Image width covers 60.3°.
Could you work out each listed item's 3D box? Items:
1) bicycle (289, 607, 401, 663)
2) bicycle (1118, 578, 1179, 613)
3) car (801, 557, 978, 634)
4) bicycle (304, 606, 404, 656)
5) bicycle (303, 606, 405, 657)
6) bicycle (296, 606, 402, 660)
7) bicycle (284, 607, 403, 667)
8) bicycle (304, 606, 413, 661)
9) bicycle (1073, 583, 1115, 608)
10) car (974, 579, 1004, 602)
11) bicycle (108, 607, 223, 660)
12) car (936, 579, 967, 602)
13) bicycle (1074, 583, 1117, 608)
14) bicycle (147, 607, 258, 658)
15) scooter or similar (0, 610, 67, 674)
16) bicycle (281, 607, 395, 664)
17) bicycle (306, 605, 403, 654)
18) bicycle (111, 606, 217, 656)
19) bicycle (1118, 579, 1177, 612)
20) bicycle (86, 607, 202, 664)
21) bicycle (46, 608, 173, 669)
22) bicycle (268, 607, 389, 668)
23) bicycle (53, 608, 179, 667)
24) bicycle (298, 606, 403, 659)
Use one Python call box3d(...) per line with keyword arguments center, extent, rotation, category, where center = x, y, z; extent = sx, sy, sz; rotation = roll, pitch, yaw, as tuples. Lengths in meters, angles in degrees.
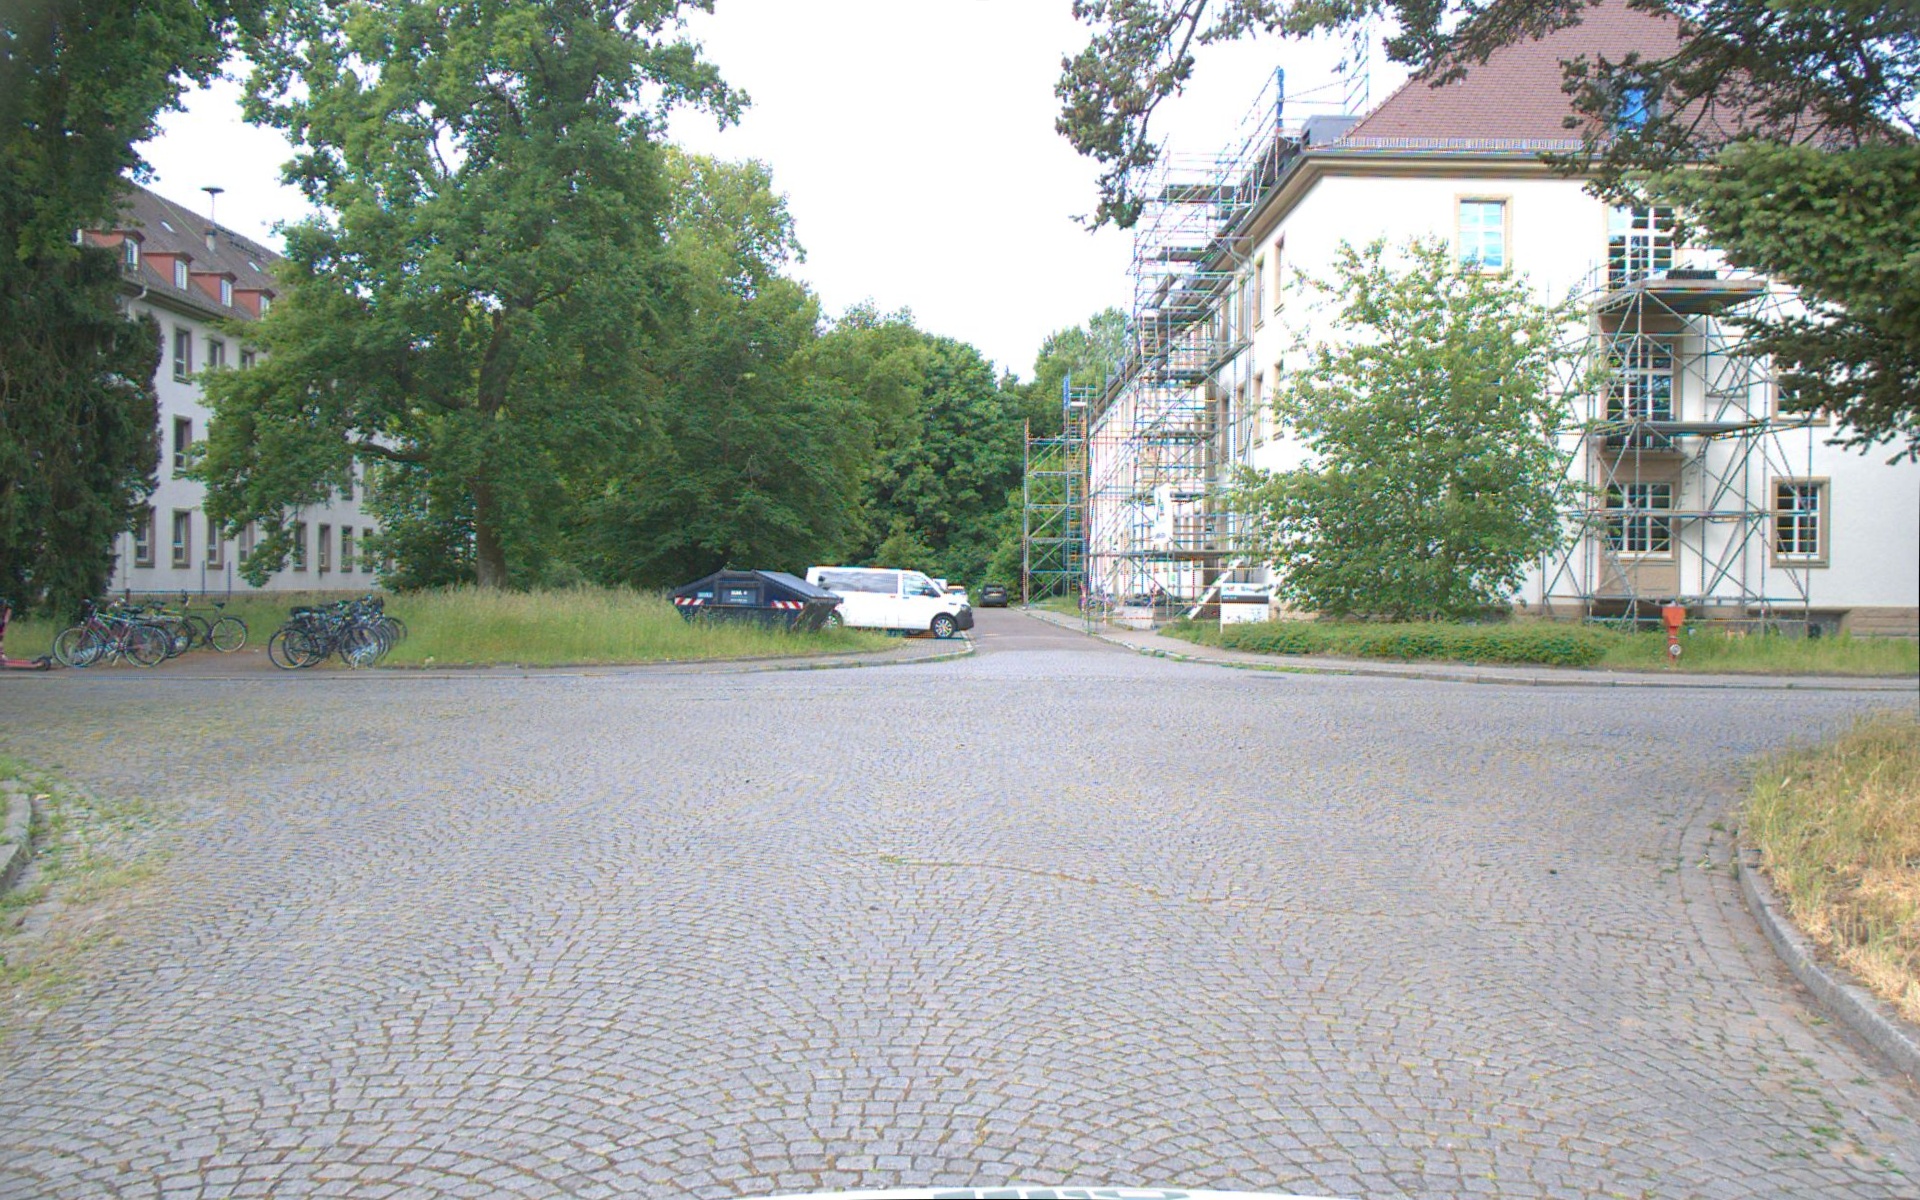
box3d(center=(-11.427, 0.634, 30.737), extent=(1.931, 1.007, 0.622), rotation=(0, 0, -24), category="bicycle")
box3d(center=(7.069, -0.170, 62.142), extent=(2.194, 1.276, 0.778), rotation=(0, 0, 1), category="bicycle")
box3d(center=(-2.090, -0.140, 49.029), extent=(5.130, 2.206, 1.999), rotation=(0, 0, -3), category="car")
box3d(center=(-12.670, 0.630, 34.597), extent=(1.931, 1.007, 0.622), rotation=(0, 0, -24), category="bicycle")
box3d(center=(-12.468, 0.631, 34.031), extent=(1.931, 1.007, 0.622), rotation=(0, 0, -24), category="bicycle")
box3d(center=(-11.938, 0.633, 32.331), extent=(1.931, 1.007, 0.622), rotation=(0, 0, -24), category="bicycle")
box3d(center=(-10.862, 0.636, 29.149), extent=(1.931, 1.007, 0.622), rotation=(0, 0, -24), category="bicycle")
box3d(center=(-11.490, 0.632, 31.613), extent=(1.931, 1.007, 0.622), rotation=(0, 0, -24), category="bicycle")
box3d(center=(7.055, -0.229, 87.109), extent=(2.194, 1.276, 0.698), rotation=(0, 0, 1), category="bicycle")
box3d(center=(2.019, -0.681, 115.391), extent=(1.912, 1.548, 3.998), rotation=(0, 0, -2), category="car")
box3d(center=(-15.481, 0.649, 32.263), extent=(1.923, 1.007, 0.625), rotation=(0, 0, -11), category="bicycle")
box3d(center=(-0.601, -0.668, 115.051), extent=(2.076, 1.548, 3.999), rotation=(0, 0, -2), category="car")
box3d(center=(7.058, -0.226, 85.950), extent=(2.194, 1.276, 0.627), rotation=(0, 0, 1), category="bicycle")
box3d(center=(-15.216, 0.645, 33.275), extent=(1.923, 1.007, 0.625), rotation=(0, 0, -11), category="bicycle")
box3d(center=(-15.734, 0.702, 27.868), extent=(1.321, 1.056, 0.453), rotation=(0, 0, 21), category="scooter or similar")
box3d(center=(-11.322, 0.635, 30.113), extent=(1.931, 1.007, 0.622), rotation=(0, 0, -24), category="bicycle")
box3d(center=(-12.929, 0.629, 35.314), extent=(1.931, 1.007, 0.622), rotation=(0, 0, -24), category="bicycle")
box3d(center=(-16.670, 0.647, 34.678), extent=(1.927, 1.007, 0.624), rotation=(0, 0, -18), category="bicycle")
box3d(center=(7.252, -0.176, 64.057), extent=(2.194, 1.276, 0.778), rotation=(0, 0, 1), category="bicycle")
box3d(center=(-15.236, 0.651, 30.919), extent=(1.935, 1.007, 0.621), rotation=(0, 0, -28), category="bicycle")
box3d(center=(-14.754, 0.654, 28.728), extent=(1.935, 1.007, 0.621), rotation=(0, 0, -28), category="bicycle")
box3d(center=(-10.880, 0.637, 28.524), extent=(1.930, 1.007, 0.623), rotation=(0, 0, -22), category="bicycle")
box3d(center=(-14.888, 0.653, 29.216), extent=(1.931, 1.007, 0.622), rotation=(0, 0, -24), category="bicycle")
box3d(center=(-12.120, 0.632, 32.910), extent=(1.931, 1.007, 0.622), rotation=(0, 0, -24), category="bicycle")
